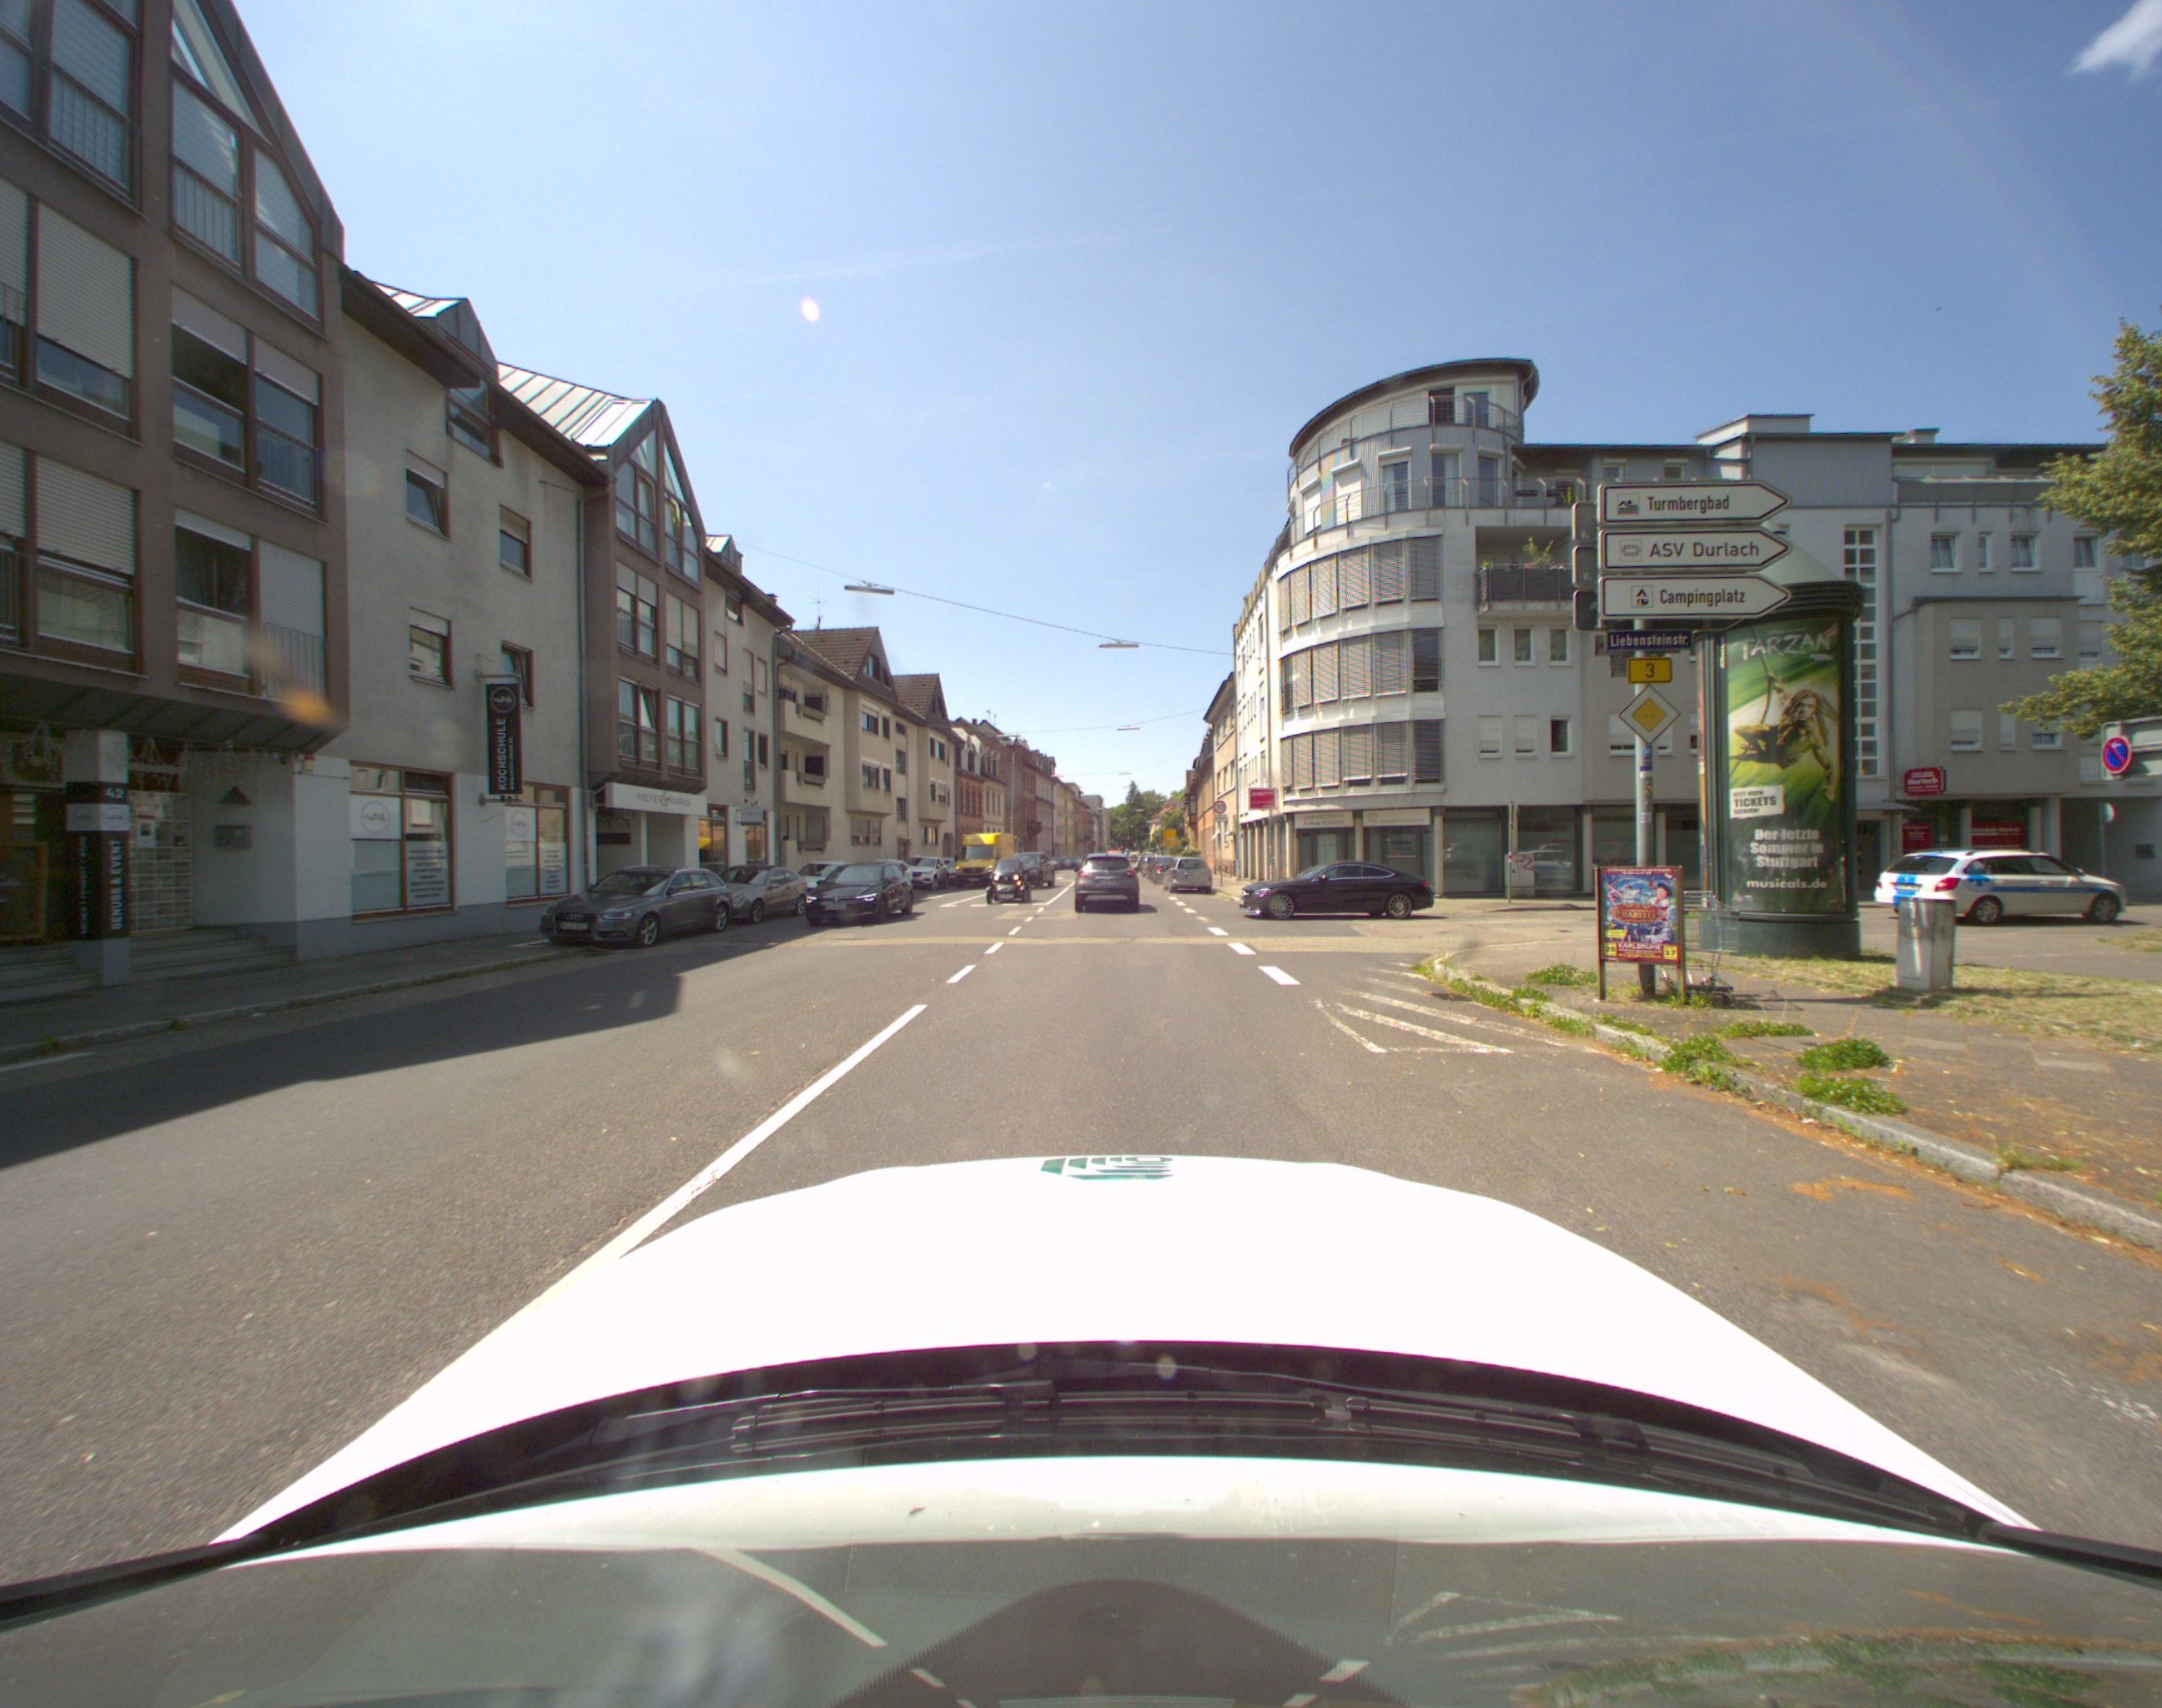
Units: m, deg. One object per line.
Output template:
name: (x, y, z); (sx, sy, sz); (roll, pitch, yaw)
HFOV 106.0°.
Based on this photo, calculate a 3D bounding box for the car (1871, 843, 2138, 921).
car: (19.355, 0.573, 17.170); (3.976, 1.555, 1.569); (0, -1, -2)

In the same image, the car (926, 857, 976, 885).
car: (-7.235, 0.924, 45.770); (1.832, 1.488, 4.390); (2, 0, 3)

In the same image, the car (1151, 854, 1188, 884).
car: (4.597, 0.737, 42.721); (1.704, 1.473, 4.442); (-1, 0, 3)

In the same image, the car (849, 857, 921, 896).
car: (-8.233, 0.920, 34.574); (1.833, 1.489, 4.388); (2, 0, 2)

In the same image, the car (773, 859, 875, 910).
car: (-8.309, 0.927, 26.772); (1.833, 1.489, 4.387); (2, 0, 1)

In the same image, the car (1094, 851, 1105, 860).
car: (3.507, 0.351, 154.439); (1.898, 1.620, 4.303); (-3, 0, 1)

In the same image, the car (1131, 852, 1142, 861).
car: (9.545, 0.381, 140.671); (1.754, 1.560, 3.949); (-1, 0, 6)

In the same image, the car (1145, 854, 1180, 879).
car: (4.806, 0.729, 48.323); (1.646, 1.420, 4.048); (0, 0, 0)

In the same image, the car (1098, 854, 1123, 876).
car: (2.290, 0.824, 62.212); (1.804, 1.620, 4.445); (-2, 0, 3)

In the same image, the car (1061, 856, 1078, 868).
car: (-1.472, 1.053, 103.682); (1.832, 1.422, 4.649); (-3, -1, 3)

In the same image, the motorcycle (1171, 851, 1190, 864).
motorcycle: (11.828, 0.392, 96.640); (2.119, 1.408, 0.938); (-2, -1, 4)

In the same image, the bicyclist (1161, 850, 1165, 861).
bicyclist: (11.145, 0.258, 110.298); (0.530, 1.469, 0.792); (-1, -1, 5)

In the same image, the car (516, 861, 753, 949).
car: (-8.751, 0.908, 16.615); (1.832, 1.447, 4.973); (2, 0, 3)

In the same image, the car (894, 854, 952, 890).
car: (-7.671, 0.863, 39.961); (1.833, 1.596, 4.388); (2, 0, 2)

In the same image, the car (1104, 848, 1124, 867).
car: (3.584, 0.374, 87.200); (1.985, 2.013, 4.469); (-1, 0, 3)

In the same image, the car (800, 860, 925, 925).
car: (-5.366, 0.894, 20.586); (1.735, 1.419, 4.227); (-2, 0, 4)

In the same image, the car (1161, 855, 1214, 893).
car: (4.325, 0.784, 33.538); (1.672, 1.454, 4.143); (1, 0, 0)

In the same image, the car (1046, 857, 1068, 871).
car: (-2.660, 1.088, 92.532); (1.830, 1.422, 4.509); (-4, -1, 6)

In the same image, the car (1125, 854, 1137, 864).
car: (8.116, 0.853, 132.056); (1.754, 1.560, 3.949); (-1, 0, 6)

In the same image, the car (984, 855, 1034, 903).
car: (-2.287, 0.771, 26.443); (1.493, 1.459, 2.720); (-1, 0, -3)

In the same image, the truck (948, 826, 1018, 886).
truck: (-4.978, 0.109, 42.733); (2.216, 2.771, 7.571); (-2, 0, 4)

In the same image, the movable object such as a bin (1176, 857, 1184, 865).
movable object such as a bin: (10.623, 0.749, 87.206); (0.785, 0.907, 0.539); (-1, 0, 2)

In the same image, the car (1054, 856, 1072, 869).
car: (-2.153, 1.009, 97.774); (1.832, 1.422, 4.505); (-3, -1, 3)

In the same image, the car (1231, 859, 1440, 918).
car: (6.170, 0.820, 20.164); (4.567, 1.365, 2.000); (0, 0, -1)

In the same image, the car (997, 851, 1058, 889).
car: (-2.372, 0.698, 37.319); (1.801, 1.620, 4.453); (-2, -1, 9)

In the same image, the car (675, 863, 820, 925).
car: (-8.602, 0.974, 21.482); (1.832, 1.384, 4.329); (2, 0, 2)

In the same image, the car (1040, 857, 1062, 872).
car: (-3.162, 1.132, 86.676); (1.832, 1.422, 4.505); (-5, -1, 3)

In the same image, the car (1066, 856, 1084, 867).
car: (-0.838, 1.011, 109.442); (1.830, 1.422, 4.565); (-4, -1, 6)

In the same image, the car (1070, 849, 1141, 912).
car: (0.619, 0.694, 23.229); (1.740, 1.616, 3.996); (-1, 0, -2)
